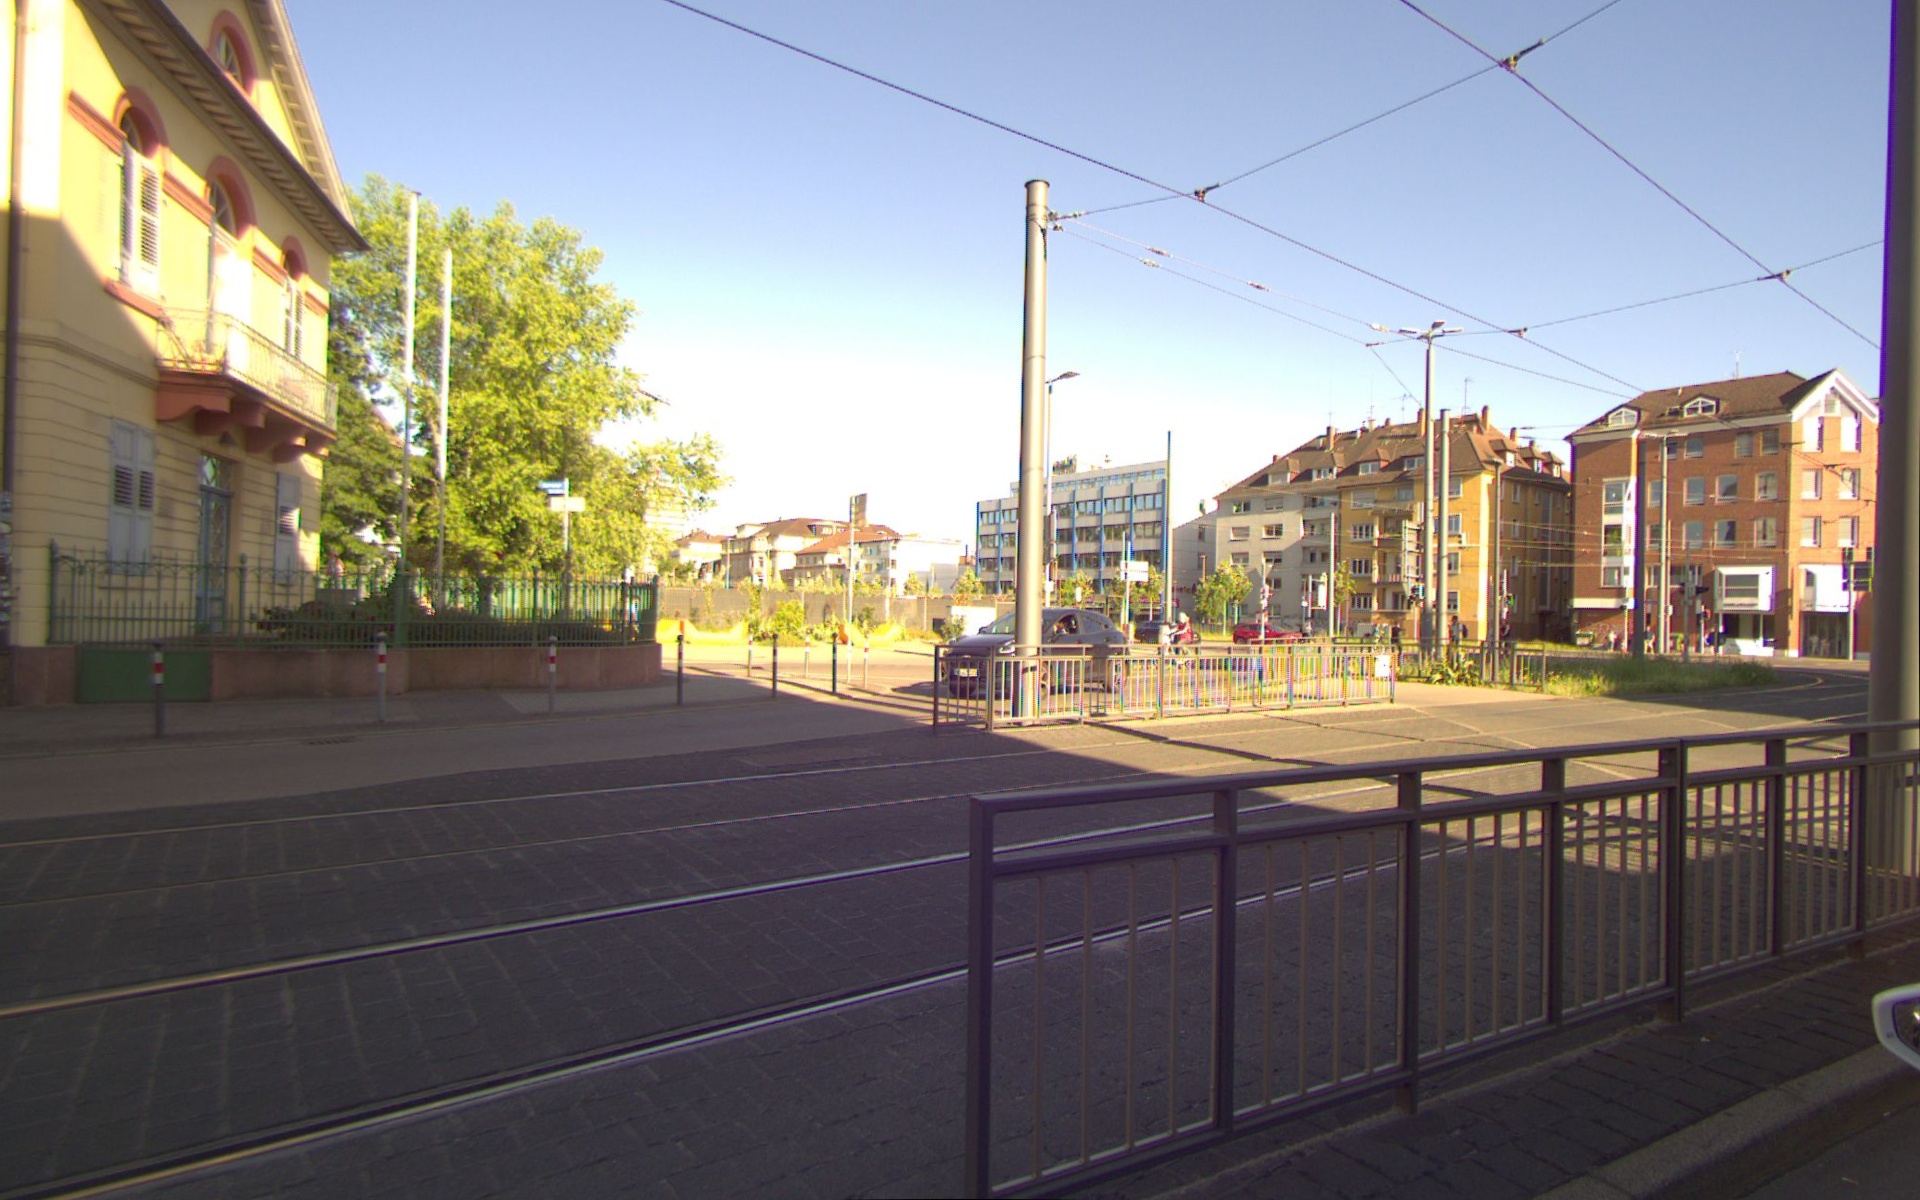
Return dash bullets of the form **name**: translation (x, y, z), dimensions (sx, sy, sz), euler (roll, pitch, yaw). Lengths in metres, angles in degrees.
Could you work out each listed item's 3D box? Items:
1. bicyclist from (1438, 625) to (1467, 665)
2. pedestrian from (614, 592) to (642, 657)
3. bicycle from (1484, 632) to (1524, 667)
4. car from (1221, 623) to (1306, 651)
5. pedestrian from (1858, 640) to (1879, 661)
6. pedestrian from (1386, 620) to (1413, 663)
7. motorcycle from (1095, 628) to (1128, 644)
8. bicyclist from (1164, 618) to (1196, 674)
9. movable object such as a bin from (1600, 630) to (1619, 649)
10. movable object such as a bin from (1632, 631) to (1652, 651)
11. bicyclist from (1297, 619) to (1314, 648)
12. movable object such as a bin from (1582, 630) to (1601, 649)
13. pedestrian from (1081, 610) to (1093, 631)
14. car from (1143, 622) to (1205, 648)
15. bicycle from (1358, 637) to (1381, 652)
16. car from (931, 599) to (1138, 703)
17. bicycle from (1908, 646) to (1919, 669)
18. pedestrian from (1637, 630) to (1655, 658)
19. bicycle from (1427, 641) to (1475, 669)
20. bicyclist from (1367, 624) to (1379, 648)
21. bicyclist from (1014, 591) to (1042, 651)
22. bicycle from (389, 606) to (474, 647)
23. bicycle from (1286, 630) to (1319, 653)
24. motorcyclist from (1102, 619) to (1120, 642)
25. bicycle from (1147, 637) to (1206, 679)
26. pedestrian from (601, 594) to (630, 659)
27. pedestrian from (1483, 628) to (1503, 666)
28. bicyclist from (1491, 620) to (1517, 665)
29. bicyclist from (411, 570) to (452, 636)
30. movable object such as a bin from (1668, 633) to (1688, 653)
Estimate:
- **bicyclist**: translation (18.444, 1.677, 37.607), dimensions (0.721, 1.473, 0.661), euler (2, 0, -27)
- **pedestrian**: translation (-9.612, 0.705, 29.045), dimensions (0.694, 1.841, 0.593), euler (2, 0, -20)
- **bicycle**: translation (21.089, 1.934, 38.910), dimensions (2.008, 1.308, 0.569), euler (2, -1, -38)
- **car**: translation (17.651, 2.128, 58.613), dimensions (1.768, 1.529, 4.511), euler (2, -2, -40)
- **pedestrian**: translation (71.256, 3.947, 78.767), dimensions (0.848, 1.589, 0.885), euler (2, 0, -9)
- **pedestrian**: translation (20.457, 1.939, 46.753), dimensions (0.786, 1.959, 0.722), euler (2, 0, -19)
- **motorcycle**: translation (10.245, 2.440, 68.130), dimensions (0.784, 0.997, 2.341), euler (2, -1, -37)
- **bicyclist**: translation (6.773, 1.426, 30.924), dimensions (0.761, 1.695, 0.518), euler (2, 0, -30)
- **movable object such as a bin**: translation (51.080, 3.077, 79.017), dimensions (1.087, 1.455, 0.987), euler (2, 0, -40)
- **movable object such as a bin**: translation (52.354, 3.158, 77.128), dimensions (1.087, 1.455, 0.987), euler (2, 0, -40)
- **bicyclist**: translation (18.281, 1.783, 53.114), dimensions (0.606, 1.513, 0.608), euler (2, 0, -45)
- **movable object such as a bin**: translation (50.289, 3.114, 79.948), dimensions (1.087, 1.455, 0.987), euler (2, 0, -40)
- **pedestrian**: translation (12.598, 2.058, 99.743), dimensions (0.796, 2.037, 0.798), euler (2, 0, 44)
- **car**: translation (13.573, 2.236, 63.860), dimensions (1.561, 1.491, 3.672), euler (2, -1, -37)
- **bicycle**: translation (23.207, 2.507, 56.892), dimensions (1.159, 0.774, 0.318), euler (2, 0, 44)
- **car**: translation (1.428, 0.848, 17.645), dimensions (1.663, 1.581, 4.108), euler (2, -1, 36)
- **bicycle**: translation (53.628, 3.212, 55.451), dimensions (0.616, 1.239, 2.041), euler (2, -1, 1)
- **pedestrian**: translation (43.500, 2.787, 63.699), dimensions (0.922, 1.733, 0.690), euler (2, 0, -37)
- **bicycle**: translation (18.418, 2.064, 37.674), dimensions (1.862, 1.027, 0.647), euler (2, 0, -29)
- **bicyclist**: translation (23.348, 2.039, 56.805), dimensions (0.453, 1.333, 0.398), euler (2, 0, 43)
- **bicyclist**: translation (1.978, 0.604, 29.190), dimensions (0.755, 1.695, 0.522), euler (2, 0, 7)
- **bicycle**: translation (-13.872, 0.693, 26.394), dimensions (1.862, 1.027, 0.531), euler (2, 0, -7)
- **bicycle**: translation (18.147, 2.217, 53.237), dimensions (0.608, 1.148, 1.480), euler (2, -1, -44)
- **motorcyclist**: translation (10.242, 2.084, 68.142), dimensions (0.775, 1.544, 0.913), euler (2, 0, -37)
- **bicycle**: translation (6.650, 1.787, 30.851), dimensions (1.862, 1.230, 0.527), euler (2, 0, -30)
- **pedestrian**: translation (-10.151, 0.768, 29.598), dimensions (0.729, 1.876, 0.704), euler (2, 0, -20)
- **pedestrian**: translation (25.085, 2.192, 47.264), dimensions (0.701, 1.711, 0.618), euler (0, 1, -43)
- **bicyclist**: translation (21.065, 1.644, 38.892), dimensions (0.799, 1.671, 0.584), euler (2, 0, -38)
- **bicyclist**: translation (-13.885, 0.081, 26.390), dimensions (0.756, 1.695, 0.526), euler (2, 0, -7)
- **movable object such as a bin**: translation (53.774, 3.207, 75.246), dimensions (1.087, 1.455, 0.987), euler (2, 0, -40)
